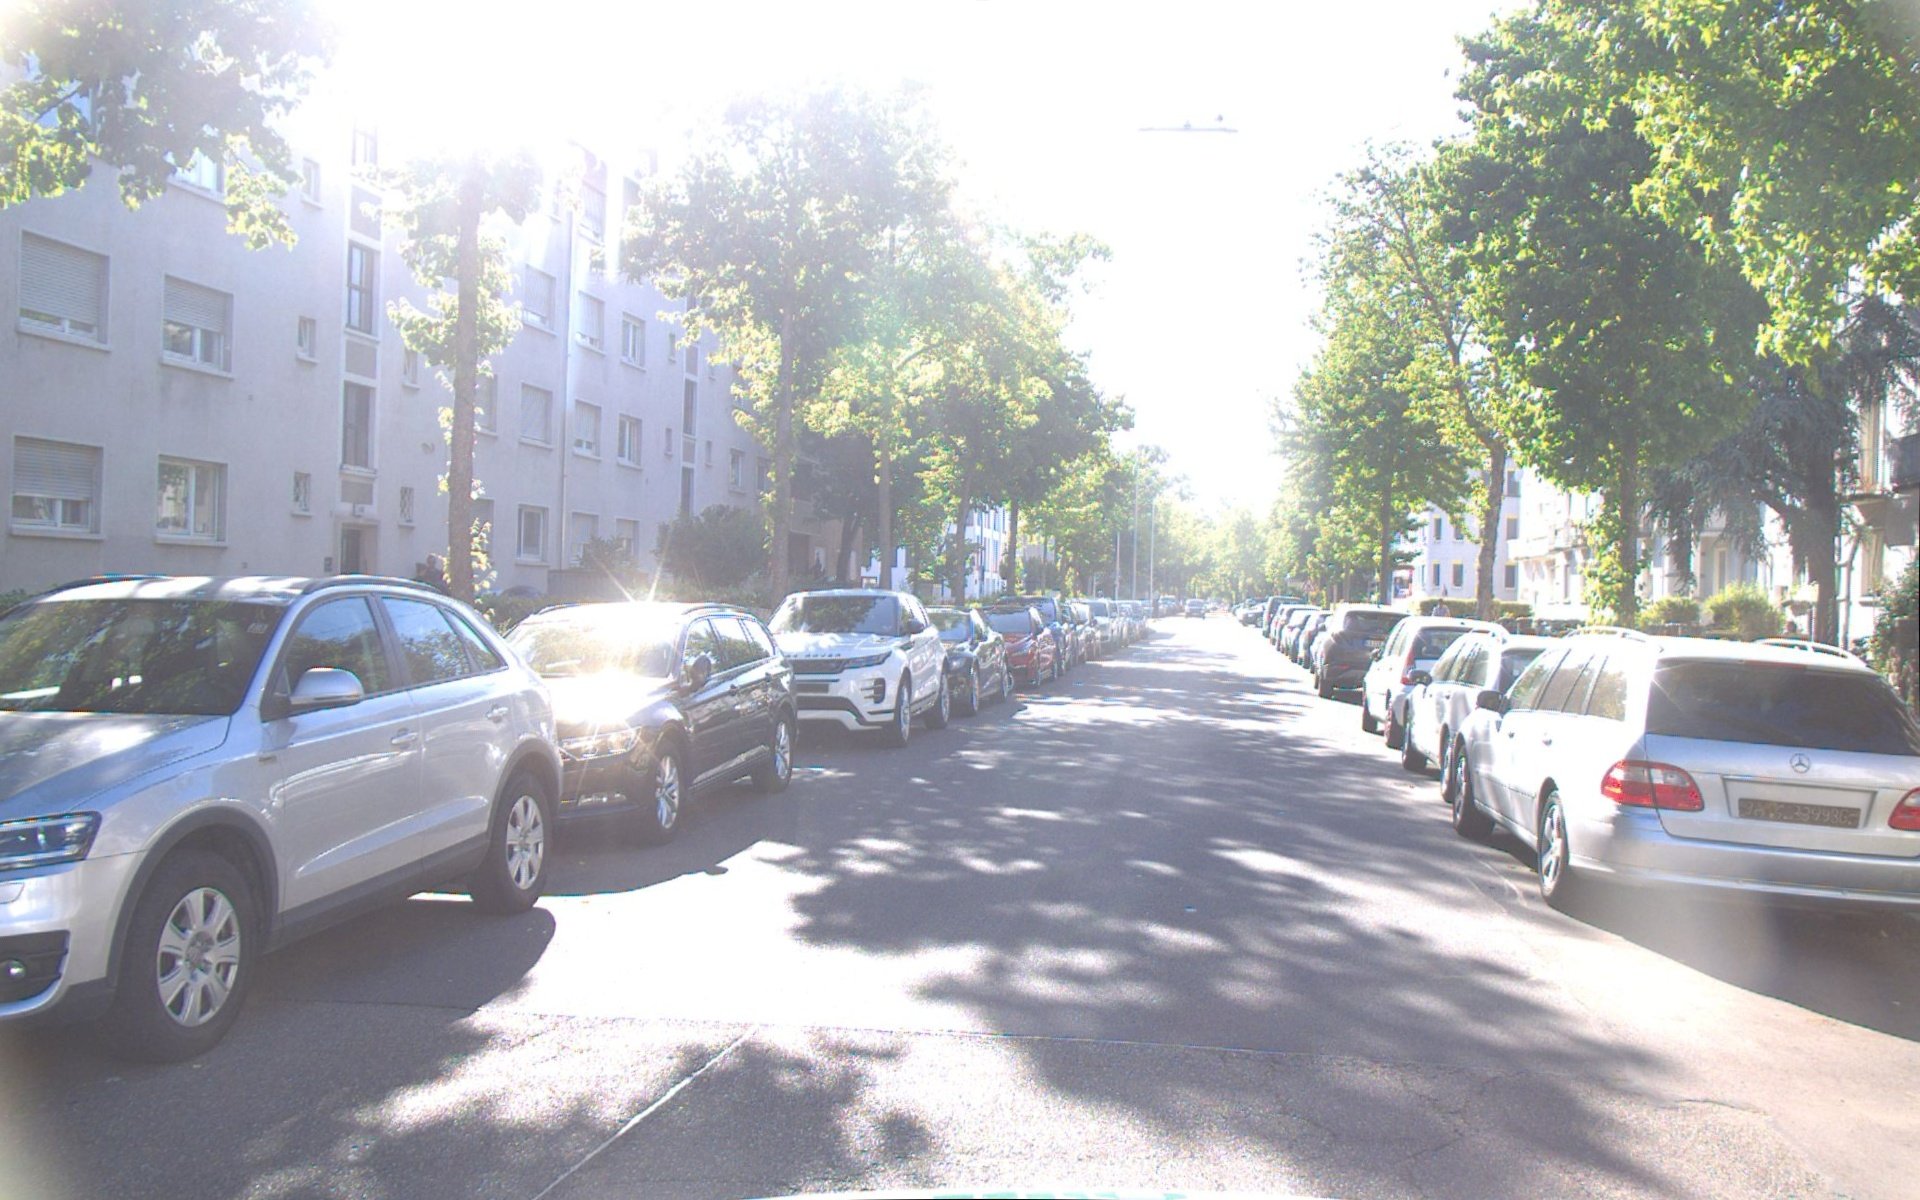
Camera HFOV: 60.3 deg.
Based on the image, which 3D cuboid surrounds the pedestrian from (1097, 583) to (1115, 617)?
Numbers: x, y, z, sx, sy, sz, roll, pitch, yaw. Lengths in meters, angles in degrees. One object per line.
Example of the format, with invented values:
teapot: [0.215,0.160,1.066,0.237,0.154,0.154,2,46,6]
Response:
pedestrian: [9.081,-0.013,102.886,0.841,2.049,0.981,1,0,18]

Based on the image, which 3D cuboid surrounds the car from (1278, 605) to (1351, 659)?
car: [11.377,0.998,53.370,1.857,1.499,4.703,5,0,8]

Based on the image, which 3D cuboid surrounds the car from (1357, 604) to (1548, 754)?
car: [6.061,0.902,20.745,1.619,1.559,3.972,4,1,8]

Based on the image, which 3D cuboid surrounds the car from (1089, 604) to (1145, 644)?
car: [6.183,0.916,64.828,1.951,1.478,4.266,-1,0,8]

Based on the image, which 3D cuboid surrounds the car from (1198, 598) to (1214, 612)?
car: [28.507,0.545,191.572,1.854,1.588,4.003,1,0,9]

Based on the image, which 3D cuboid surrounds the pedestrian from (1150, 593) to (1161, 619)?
pedestrian: [14.322,0.447,121.322,0.700,1.933,0.837,1,0,0]

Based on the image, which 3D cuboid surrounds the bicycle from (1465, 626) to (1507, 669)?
bicycle: [15.333,1.380,48.273,0.669,1.173,2.405,1,0,6]

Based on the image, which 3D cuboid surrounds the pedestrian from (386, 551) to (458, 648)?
pedestrian: [-10.906,-0.020,33.530,0.914,1.921,1.026,1,0,21]

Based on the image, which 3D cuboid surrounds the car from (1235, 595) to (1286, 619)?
car: [24.360,0.572,134.055,3.902,1.862,2.002,1,0,7]

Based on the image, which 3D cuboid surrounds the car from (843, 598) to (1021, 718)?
car: [-0.286,0.753,23.645,1.691,1.503,4.623,-2,0,9]

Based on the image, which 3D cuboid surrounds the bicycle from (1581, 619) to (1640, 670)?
bicycle: [15.442,1.035,39.315,0.786,1.135,2.001,2,0,6]

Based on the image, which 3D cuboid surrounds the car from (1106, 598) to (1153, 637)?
car: [7.289,0.740,70.805,1.800,1.623,4.266,0,0,8]

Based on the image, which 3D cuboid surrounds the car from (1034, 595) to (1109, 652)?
car: [3.082,0.623,45.207,1.724,1.469,3.912,0,0,8]

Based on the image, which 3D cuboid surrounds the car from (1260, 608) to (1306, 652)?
car: [15.573,1.426,79.844,1.929,1.983,4.989,2,0,9]

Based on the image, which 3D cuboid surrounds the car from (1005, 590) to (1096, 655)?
car: [2.272,0.526,40.526,1.790,1.478,4.126,1,0,9]

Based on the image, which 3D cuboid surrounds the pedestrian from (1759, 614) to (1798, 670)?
pedestrian: [17.727,0.906,35.821,0.498,1.162,0.756,2,0,8]

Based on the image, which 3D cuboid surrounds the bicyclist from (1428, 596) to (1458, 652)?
bicyclist: [14.303,0.700,49.000,0.662,1.638,0.922,1,0,6]

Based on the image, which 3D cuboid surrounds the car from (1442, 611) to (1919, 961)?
car: [4.289,0.889,10.167,1.783,1.495,4.913,3,1,8]

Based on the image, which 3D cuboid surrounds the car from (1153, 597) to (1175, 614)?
car: [19.914,0.523,161.244,1.951,1.613,4.003,1,0,9]

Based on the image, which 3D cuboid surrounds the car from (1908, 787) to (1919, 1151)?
car: [3.446,0.859,2.371,1.855,1.551,4.971,2,0,8]

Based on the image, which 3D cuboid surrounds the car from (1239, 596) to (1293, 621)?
car: [23.421,0.649,126.778,3.902,1.837,1.891,1,0,7]

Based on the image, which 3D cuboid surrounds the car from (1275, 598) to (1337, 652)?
car: [12.427,0.852,59.572,1.867,1.728,4.317,4,1,9]

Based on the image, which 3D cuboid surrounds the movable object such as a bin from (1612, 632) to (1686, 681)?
movable object such as a bin: [14.181,1.148,34.025,1.198,0.920,1.661,1,0,30]

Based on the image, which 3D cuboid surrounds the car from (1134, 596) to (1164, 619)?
car: [14.252,0.562,124.569,1.951,1.700,4.003,1,0,9]

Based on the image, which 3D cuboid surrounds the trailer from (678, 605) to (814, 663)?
trailer: [-4.272,0.664,33.469,1.751,1.052,3.284,2,0,11]

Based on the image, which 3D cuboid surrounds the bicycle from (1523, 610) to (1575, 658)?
bicycle: [16.429,0.937,46.202,0.821,1.279,2.233,2,0,6]

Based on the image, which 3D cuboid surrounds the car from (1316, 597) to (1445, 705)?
car: [7.574,0.840,30.216,1.885,1.680,5.099,4,1,11]

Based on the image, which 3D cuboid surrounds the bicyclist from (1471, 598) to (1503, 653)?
bicyclist: [15.325,0.739,48.091,0.662,1.580,1.022,1,0,6]

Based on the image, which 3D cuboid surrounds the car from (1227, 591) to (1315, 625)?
car: [18.756,0.492,99.741,5.005,1.853,1.985,2,0,-25]

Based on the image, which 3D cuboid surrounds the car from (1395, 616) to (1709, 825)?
car: [5.159,0.940,15.085,1.674,1.435,4.865,3,1,8]

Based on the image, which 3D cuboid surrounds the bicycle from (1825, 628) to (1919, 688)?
bicycle: [18.277,1.147,32.821,1.857,1.119,0.583,1,0,13]

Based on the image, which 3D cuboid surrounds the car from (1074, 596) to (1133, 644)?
car: [4.912,0.667,56.202,1.673,1.571,3.933,-1,0,10]

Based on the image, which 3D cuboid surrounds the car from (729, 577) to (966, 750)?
car: [-1.104,0.633,18.362,1.691,1.646,4.370,-2,0,8]

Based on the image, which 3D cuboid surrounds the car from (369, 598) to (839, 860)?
car: [-2.236,0.739,11.889,1.691,1.472,4.825,-1,0,8]

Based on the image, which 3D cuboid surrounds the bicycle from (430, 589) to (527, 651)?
bicycle: [-9.470,0.393,32.588,0.503,1.173,1.949,2,0,32]

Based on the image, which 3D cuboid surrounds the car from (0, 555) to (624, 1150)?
car: [-3.116,0.623,6.774,2.020,1.550,4.725,1,0,6]

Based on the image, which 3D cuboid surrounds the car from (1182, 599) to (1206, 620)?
car: [19.009,0.788,134.439,1.745,1.637,4.002,1,0,5]

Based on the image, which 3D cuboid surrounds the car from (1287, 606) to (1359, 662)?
car: [10.453,0.951,47.849,1.750,1.478,3.785,3,0,9]

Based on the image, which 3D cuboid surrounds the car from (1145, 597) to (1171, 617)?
car: [16.704,0.586,139.672,1.951,1.613,4.003,1,0,9]

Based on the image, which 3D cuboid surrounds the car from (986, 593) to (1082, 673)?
car: [1.652,0.667,35.606,1.751,1.594,4.468,-1,0,6]

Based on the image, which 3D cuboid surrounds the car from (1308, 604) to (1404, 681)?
car: [8.936,0.914,37.615,1.714,1.479,4.466,4,1,9]

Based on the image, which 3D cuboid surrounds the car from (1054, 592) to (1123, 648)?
car: [3.983,0.593,50.778,1.772,1.624,4.236,1,0,9]

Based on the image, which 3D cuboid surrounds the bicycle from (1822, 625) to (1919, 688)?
bicycle: [17.074,1.041,30.656,1.857,1.119,0.583,1,0,13]

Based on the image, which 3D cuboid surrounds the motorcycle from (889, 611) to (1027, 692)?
motorcycle: [-0.031,0.838,27.282,2.239,1.293,0.808,0,0,-1]

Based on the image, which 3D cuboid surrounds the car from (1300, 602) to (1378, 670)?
car: [9.840,0.890,43.189,1.657,1.567,4.445,3,1,9]

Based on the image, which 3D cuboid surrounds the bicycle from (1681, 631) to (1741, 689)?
bicycle: [13.839,1.094,30.524,0.569,0.992,1.905,1,0,11]

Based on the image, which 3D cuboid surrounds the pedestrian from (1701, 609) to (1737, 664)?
pedestrian: [16.369,0.780,35.687,0.498,1.162,0.756,2,0,11]

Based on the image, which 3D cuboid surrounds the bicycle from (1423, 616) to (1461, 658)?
bicycle: [14.316,1.077,49.170,0.669,1.173,2.405,1,0,6]

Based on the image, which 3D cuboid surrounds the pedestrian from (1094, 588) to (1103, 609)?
pedestrian: [12.656,-0.125,151.209,0.746,1.934,0.819,1,0,3]

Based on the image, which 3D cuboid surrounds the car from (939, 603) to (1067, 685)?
car: [0.867,0.759,30.335,1.741,1.403,4.266,0,0,10]
